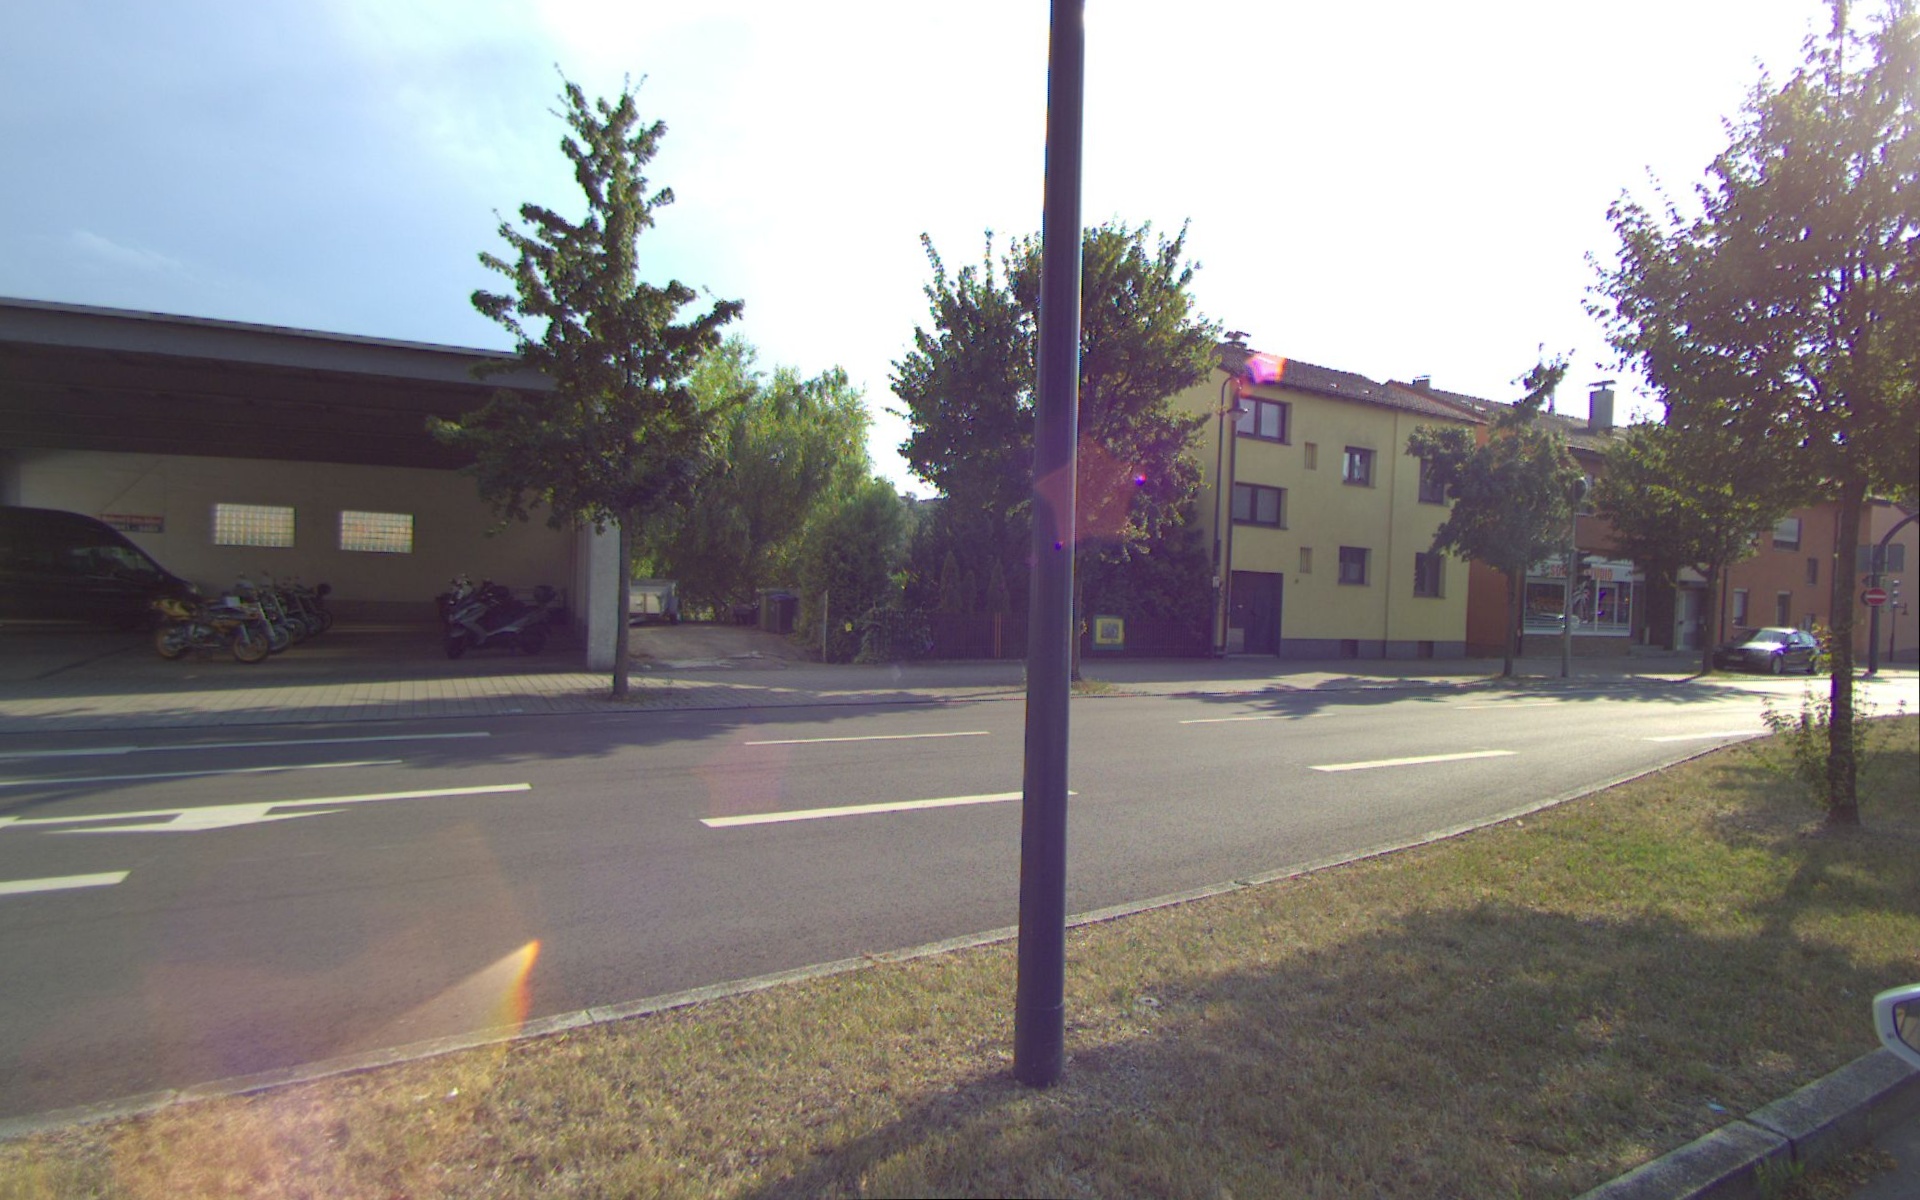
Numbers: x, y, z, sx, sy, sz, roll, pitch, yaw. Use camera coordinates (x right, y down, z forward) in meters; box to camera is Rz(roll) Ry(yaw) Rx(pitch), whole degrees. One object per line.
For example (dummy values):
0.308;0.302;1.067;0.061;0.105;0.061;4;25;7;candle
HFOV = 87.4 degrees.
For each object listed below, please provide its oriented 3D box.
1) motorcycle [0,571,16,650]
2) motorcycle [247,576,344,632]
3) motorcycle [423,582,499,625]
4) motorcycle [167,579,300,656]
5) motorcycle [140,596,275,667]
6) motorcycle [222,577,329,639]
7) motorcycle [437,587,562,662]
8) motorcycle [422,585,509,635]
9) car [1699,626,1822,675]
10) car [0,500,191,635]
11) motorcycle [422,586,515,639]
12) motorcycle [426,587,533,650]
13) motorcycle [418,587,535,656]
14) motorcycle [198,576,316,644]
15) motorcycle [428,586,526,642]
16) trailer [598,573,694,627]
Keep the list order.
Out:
-17.286;0.167;16.720;0.619;1.380;2.225;1;0;24;motorcycle
-16.909;0.101;25.568;2.219;1.354;0.631;1;0;10;motorcycle
-15.959;0.100;32.172;0.621;1.314;2.113;1;2;36;motorcycle
-13.631;0.318;18.857;2.219;1.354;0.631;1;0;10;motorcycle
-12.496;0.502;16.692;1.993;1.101;0.631;1;0;12;motorcycle
-15.884;0.180;23.309;2.219;1.354;0.631;1;0;10;motorcycle
-8.618;0.429;18.893;0.621;1.314;2.113;1;2;36;motorcycle
-13.513;0.239;27.514;0.621;1.314;2.113;1;2;36;motorcycle
25.969;1.597;32.552;3.953;1.319;1.728;1;4;-30;car
-20.452;-0.683;22.086;1.962;2.789;5.280;1;0;26;car
-12.648;0.291;25.916;0.621;1.314;2.113;1;2;36;motorcycle
-10.742;0.383;22.532;0.621;1.314;2.113;1;2;36;motorcycle
-9.812;0.400;20.455;0.621;1.314;2.113;1;2;36;motorcycle
-14.752;0.204;21.100;2.219;1.354;0.631;1;0;10;motorcycle
-11.766;0.311;24.533;0.621;1.314;2.113;1;2;36;motorcycle
-8.217;-0.007;26.613;1.698;1.280;3.995;1;0;-7;trailer
